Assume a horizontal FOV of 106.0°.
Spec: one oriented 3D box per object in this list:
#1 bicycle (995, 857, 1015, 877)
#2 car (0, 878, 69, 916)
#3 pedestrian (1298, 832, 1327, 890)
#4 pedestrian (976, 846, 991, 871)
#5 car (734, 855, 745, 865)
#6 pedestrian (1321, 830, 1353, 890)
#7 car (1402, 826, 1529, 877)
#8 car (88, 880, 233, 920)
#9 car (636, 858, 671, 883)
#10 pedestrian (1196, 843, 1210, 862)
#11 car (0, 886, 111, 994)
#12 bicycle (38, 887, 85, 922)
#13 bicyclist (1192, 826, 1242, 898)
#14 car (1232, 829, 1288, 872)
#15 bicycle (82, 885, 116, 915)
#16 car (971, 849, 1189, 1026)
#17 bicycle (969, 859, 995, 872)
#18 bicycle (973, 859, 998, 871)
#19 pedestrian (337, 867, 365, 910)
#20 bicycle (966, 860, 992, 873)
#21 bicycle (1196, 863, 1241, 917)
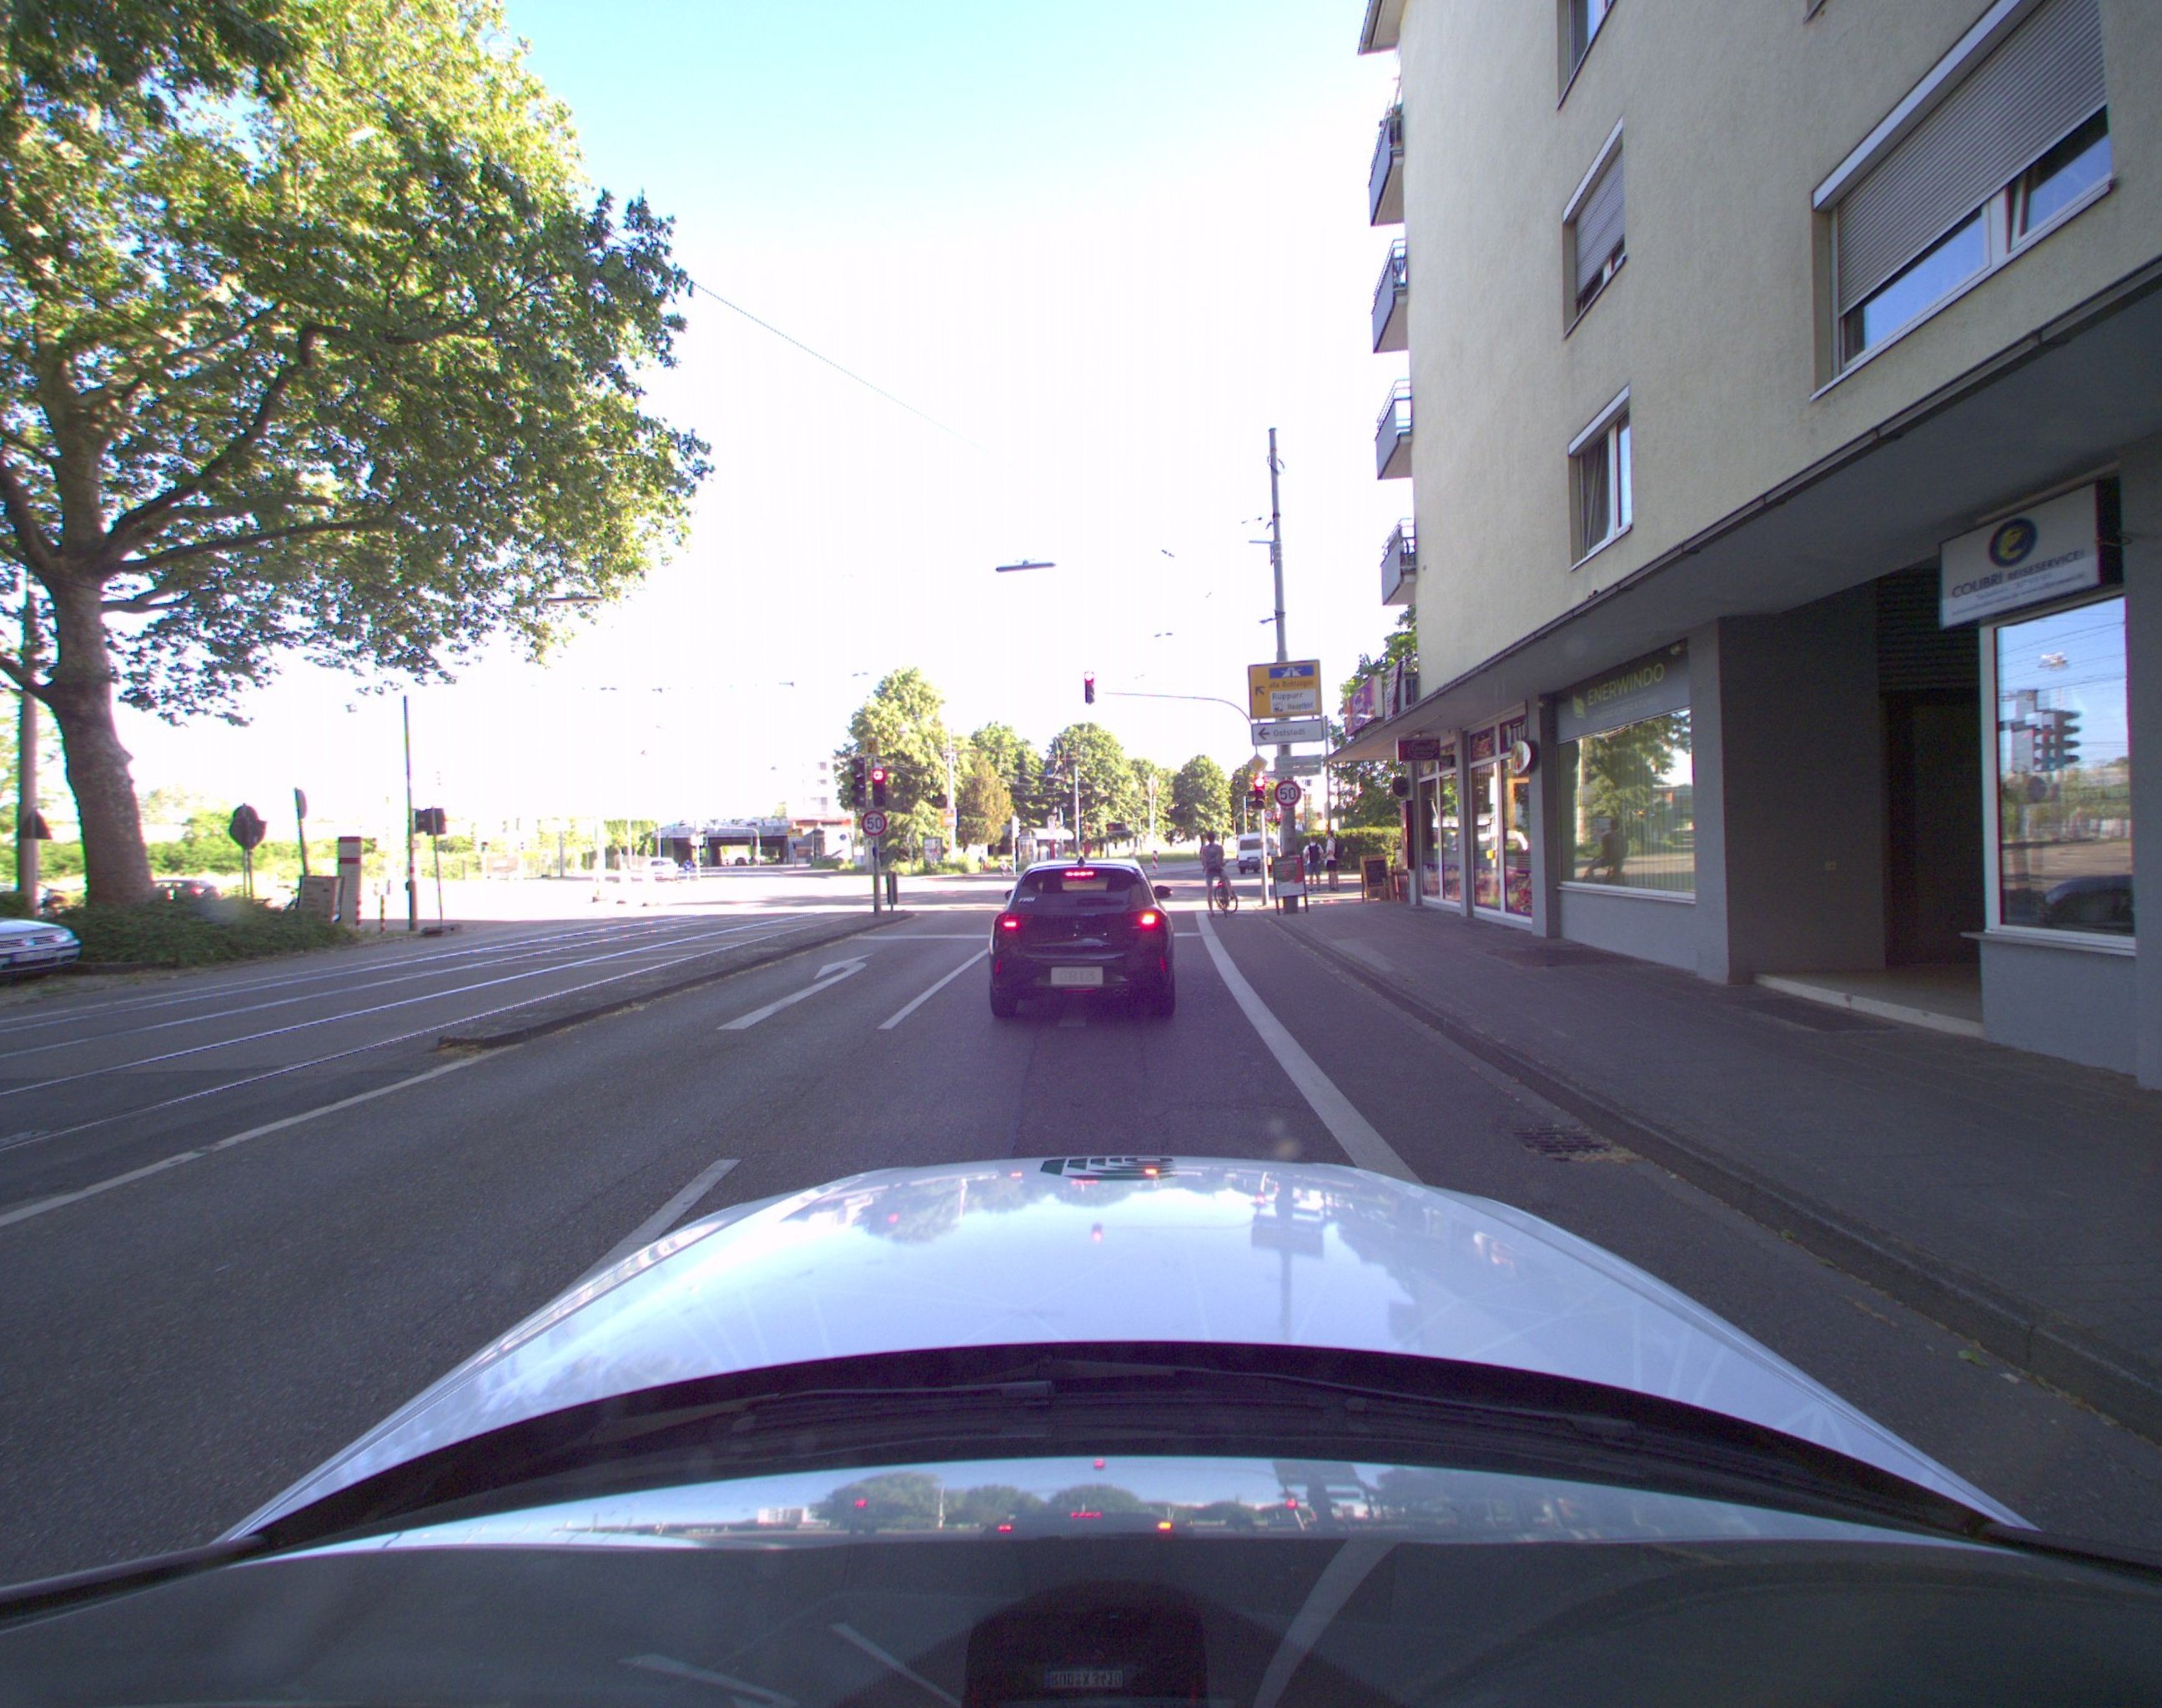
[{"bbox_3d":[-4.361,0.749,46.897,0.821,1.059,1.885,-2,0,4],"label":"bicycle"},{"bbox_3d":[-48.396,1.931,36.024,4.006,1.419,1.880,-1,6,-25],"label":"car"},{"bbox_3d":[7.248,0.216,25.470,0.696,1.792,0.617,-2,0,1],"label":"pedestrian"},{"bbox_3d":[-6.693,0.296,55.896,0.704,1.693,0.719,-2,0,-40],"label":"pedestrian"},{"bbox_3d":[-69.851,1.146,166.531,2.003,2.014,3.967,0,-1,-25],"label":"car"},{"bbox_3d":[8.009,0.183,25.471,0.696,1.846,0.705,-2,0,41],"label":"pedestrian"},{"bbox_3d":[15.114,-0.063,32.226,4.150,1.814,1.811,-2,-3,10],"label":"car"},{"bbox_3d":[-43.162,2.122,38.326,4.006,1.419,1.880,-1,6,-25],"label":"car"},{"bbox_3d":[-29.571,1.100,56.450,2.004,1.631,4.590,-2,1,-27],"label":"car"},{"bbox_3d":[11.718,-0.173,78.177,0.949,1.793,1.002,-2,0,27],"label":"pedestrian"},{"bbox_3d":[-16.669,1.203,11.343,3.980,1.417,1.701,0,-1,-5],"label":"car"},{"bbox_3d":[-25.011,1.224,19.992,0.360,0.759,1.759,-2,0,-40],"label":"bicycle"},{"bbox_3d":[2.967,0.160,17.916,0.837,1.510,1.368,-2,0,0],"label":"bicyclist"},{"bbox_3d":[10.146,-0.176,45.951,2.070,2.277,4.331,-1,-1,26],"label":"car"},{"bbox_3d":[-26.356,1.225,21.855,1.757,0.759,0.360,-1,0,32],"label":"bicycle"},{"bbox_3d":[0.107,0.694,8.835,1.793,1.441,3.943,-2,0,3],"label":"car"},{"bbox_3d":[-7.921,0.923,65.186,1.866,0.906,0.661,-2,0,8],"label":"bicycle"},{"bbox_3d":[-7.744,0.928,66.054,1.866,0.906,0.661,-2,0,8],"label":"bicycle"},{"bbox_3d":[-27.816,1.289,31.027,0.602,1.596,0.679,0,-1,-24],"label":"pedestrian"},{"bbox_3d":[-8.047,0.976,64.204,1.866,0.906,0.661,-2,0,8],"label":"bicycle"},{"bbox_3d":[3.008,0.766,17.963,0.665,1.059,2.083,-2,0,2],"label":"bicycle"}]
